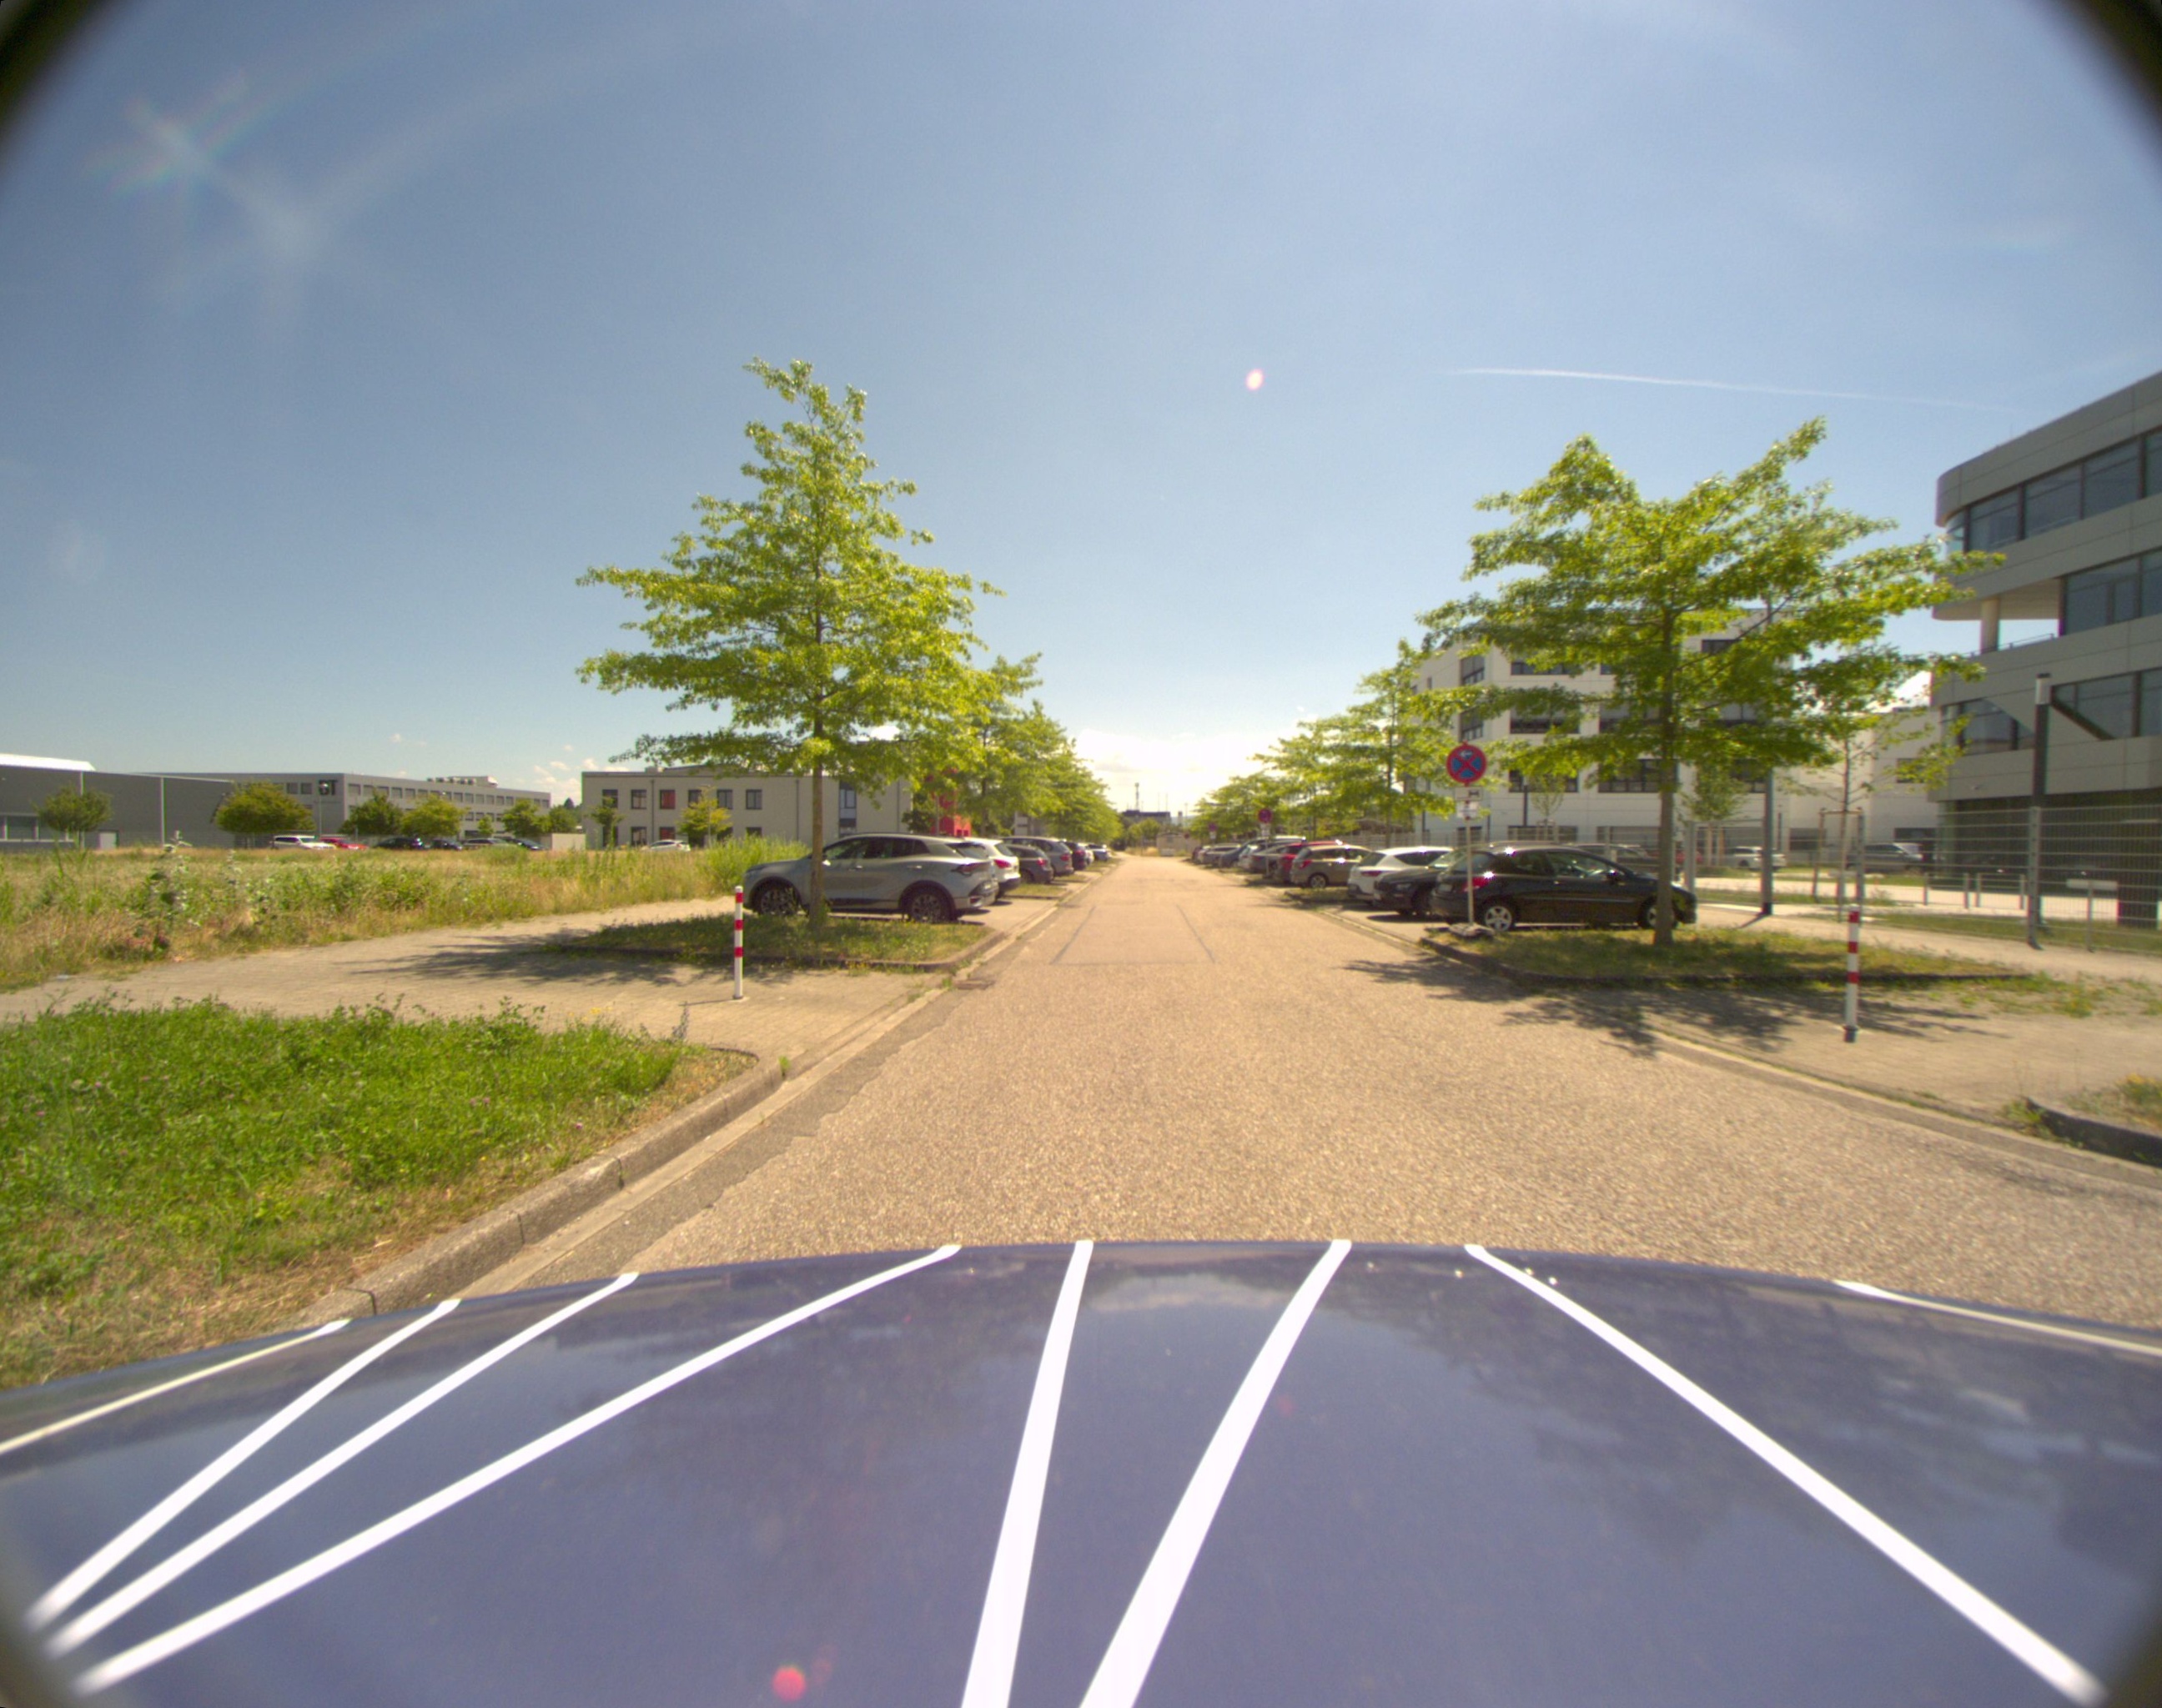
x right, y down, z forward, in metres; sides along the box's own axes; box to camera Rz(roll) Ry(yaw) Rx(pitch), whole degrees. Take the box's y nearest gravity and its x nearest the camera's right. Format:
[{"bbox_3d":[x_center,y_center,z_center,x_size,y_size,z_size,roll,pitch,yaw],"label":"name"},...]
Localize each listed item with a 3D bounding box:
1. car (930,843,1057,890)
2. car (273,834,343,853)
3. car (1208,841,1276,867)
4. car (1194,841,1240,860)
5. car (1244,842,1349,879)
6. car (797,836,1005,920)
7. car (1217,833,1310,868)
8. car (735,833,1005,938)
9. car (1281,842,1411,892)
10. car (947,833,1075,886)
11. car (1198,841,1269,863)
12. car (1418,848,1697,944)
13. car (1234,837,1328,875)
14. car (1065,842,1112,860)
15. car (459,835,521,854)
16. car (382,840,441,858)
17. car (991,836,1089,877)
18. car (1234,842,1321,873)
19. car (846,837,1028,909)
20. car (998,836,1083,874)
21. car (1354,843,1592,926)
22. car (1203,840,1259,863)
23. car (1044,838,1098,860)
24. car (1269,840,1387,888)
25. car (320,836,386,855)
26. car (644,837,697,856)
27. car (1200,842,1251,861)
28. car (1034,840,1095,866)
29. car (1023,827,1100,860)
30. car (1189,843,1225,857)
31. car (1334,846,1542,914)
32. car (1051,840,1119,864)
[{"bbox_3d":[-2.888,0.394,25.632,3.931,1.402,1.909,1,2,4],"label":"car"},{"bbox_3d":[-61.664,-0.818,60.626,3.995,1.444,1.719,1,1,4],"label":"car"},{"bbox_3d":[10.042,0.015,47.669,3.977,1.475,1.764,-2,1,5],"label":"car"},{"bbox_3d":[12.161,-0.285,68.325,3.848,1.583,1.727,-2,1,2],"label":"car"},{"bbox_3d":[9.476,0.256,33.642,4.202,1.472,1.713,-2,1,5],"label":"car"},{"bbox_3d":[-3.796,0.467,16.446,3.996,1.635,1.838,1,1,4],"label":"car"},{"bbox_3d":[10.657,-0.215,44.733,5.080,1.881,1.998,-1,1,6],"label":"car"},{"bbox_3d":[-3.689,0.507,13.756,4.288,1.635,1.851,2,1,5],"label":"car"},{"bbox_3d":[8.644,0.409,24.964,3.665,1.500,1.731,-1,1,1],"label":"car"},{"bbox_3d":[-2.520,0.179,28.198,4.459,1.758,1.993,2,1,2],"label":"car"},{"bbox_3d":[10.848,-0.123,54.296,4.723,1.439,1.858,-2,1,3],"label":"car"},{"bbox_3d":[7.955,0.665,12.966,3.633,1.427,1.726,-2,1,4],"label":"car"},{"bbox_3d":[9.557,0.079,36.451,3.997,1.669,1.777,-2,1,0],"label":"car"},{"bbox_3d":[0.665,-0.275,66.933,3.841,1.544,1.781,1,0,9],"label":"car"},{"bbox_3d":[-50.722,-0.824,65.257,3.996,1.501,1.719,1,1,3],"label":"car"},{"bbox_3d":[-60.526,-0.448,68.744,3.995,1.501,1.719,1,1,4],"label":"car"},{"bbox_3d":[-1.816,0.087,34.227,4.183,1.687,1.782,2,1,3],"label":"car"},{"bbox_3d":[9.971,0.168,38.731,4.047,1.452,1.604,-2,1,2],"label":"car"},{"bbox_3d":[-3.496,0.425,18.932,4.077,1.599,1.901,1,2,5],"label":"car"},{"bbox_3d":[-1.928,0.044,37.080,3.883,1.668,1.782,2,1,5],"label":"car"},{"bbox_3d":[7.886,0.583,15.589,3.936,1.512,1.785,-2,1,4],"label":"car"},{"bbox_3d":[11.639,-0.177,59.205,4.126,1.625,1.728,-1,1,6],"label":"car"},{"bbox_3d":[-0.766,-0.419,60.025,4.055,1.616,1.693,2,1,5],"label":"car"},{"bbox_3d":[8.850,0.343,27.512,3.745,1.612,1.817,-1,1,5],"label":"car"},{"bbox_3d":[-60.730,-0.715,63.407,3.995,1.501,1.719,1,1,4],"label":"car"},{"bbox_3d":[-33.323,-0.596,61.739,3.330,1.501,1.719,1,1,4],"label":"car"},{"bbox_3d":[12.403,-0.210,65.408,4.180,1.504,1.808,-2,0,6],"label":"car"},{"bbox_3d":[-1.028,-0.066,48.035,3.638,1.494,1.676,2,2,5],"label":"car"},{"bbox_3d":[-1.163,-0.630,45.985,4.412,1.819,1.796,2,2,5],"label":"car"},{"bbox_3d":[13.209,-0.434,79.839,3.512,1.433,1.728,-2,1,4],"label":"car"},{"bbox_3d":[8.410,0.580,18.180,4.085,1.416,1.873,-2,1,1],"label":"car"},{"bbox_3d":[0.279,-0.175,54.589,4.728,1.552,1.913,2,1,1],"label":"car"}]
